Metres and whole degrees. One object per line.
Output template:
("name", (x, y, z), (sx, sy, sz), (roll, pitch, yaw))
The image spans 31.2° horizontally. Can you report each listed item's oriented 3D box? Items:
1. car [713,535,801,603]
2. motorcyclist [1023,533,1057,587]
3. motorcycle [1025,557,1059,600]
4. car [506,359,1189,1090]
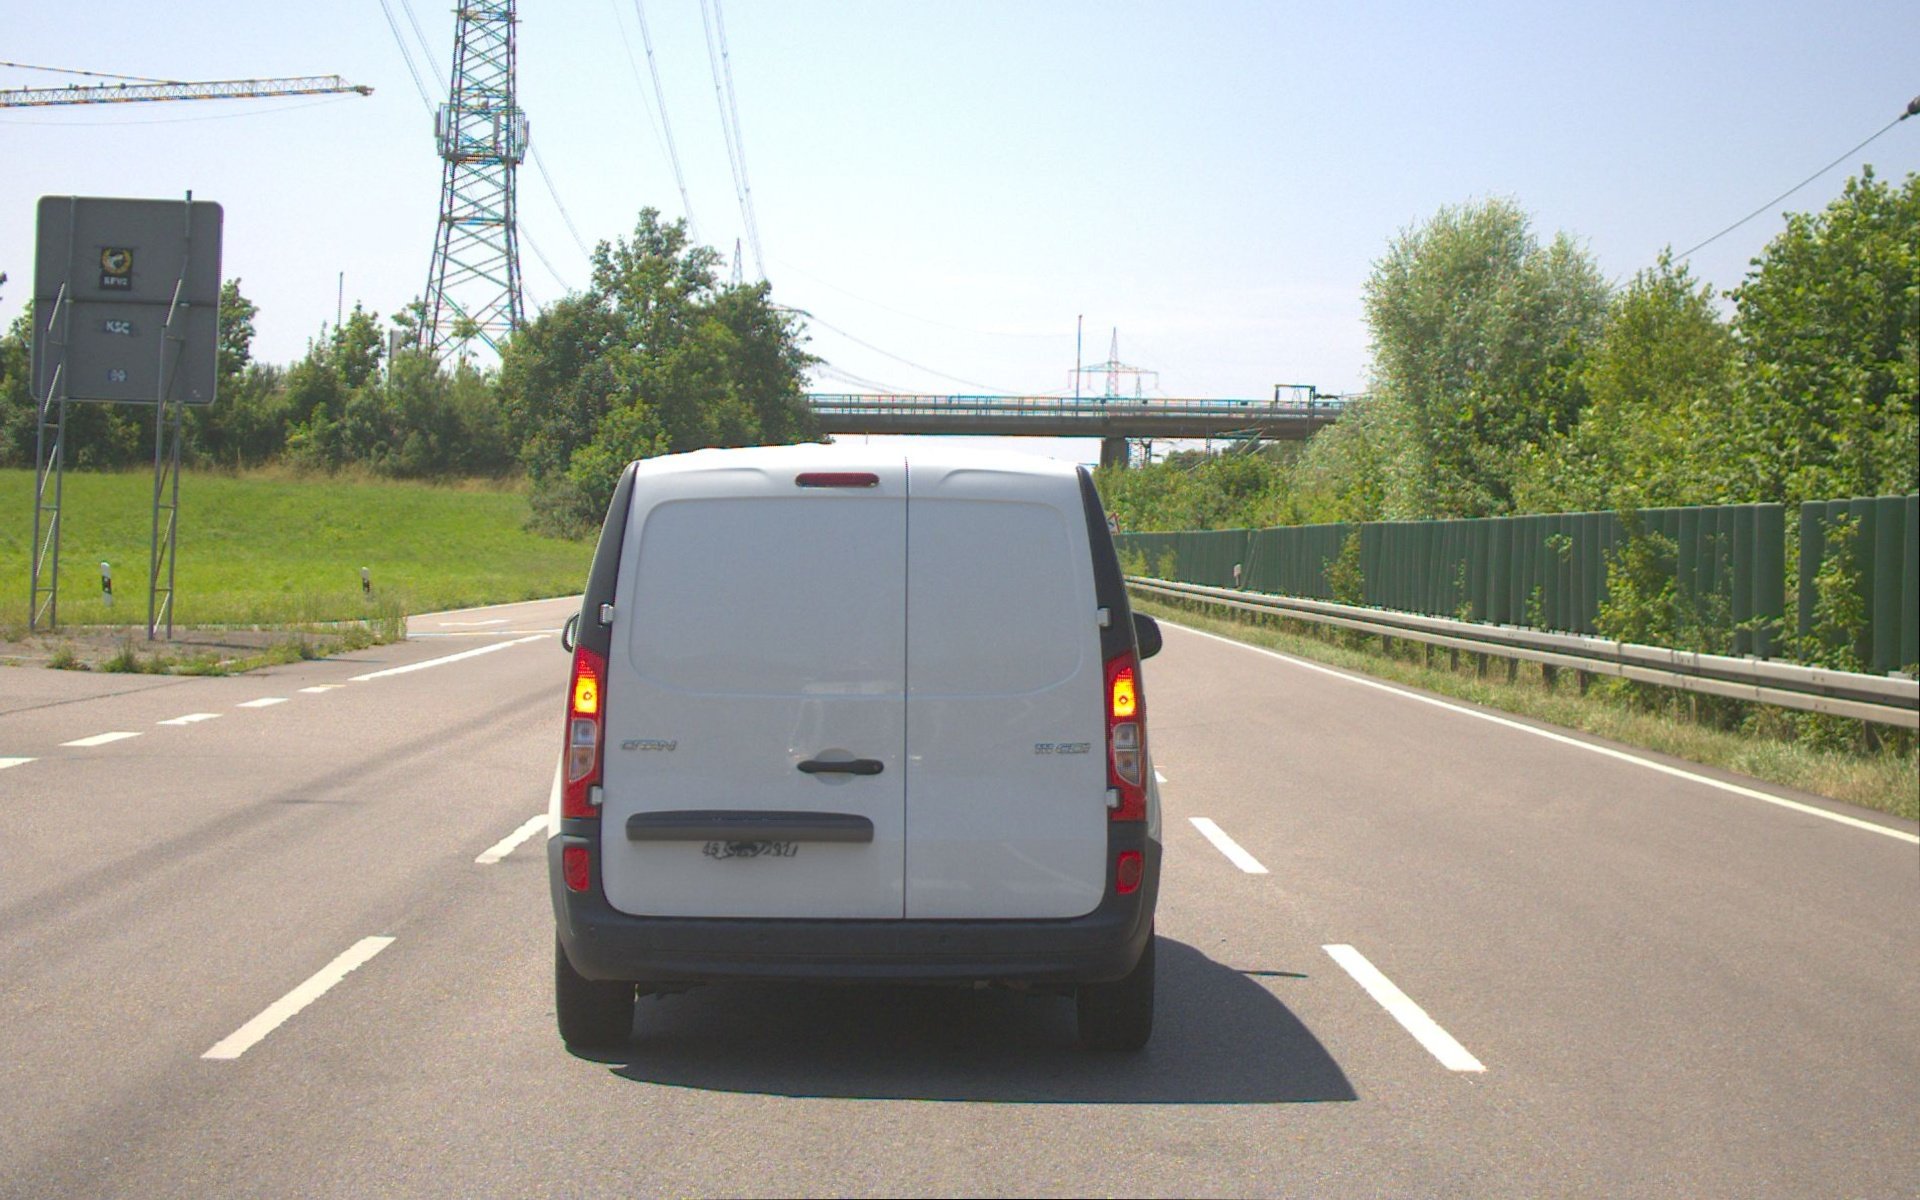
("car", (-4.582, -0.727, 78.168), (1.782, 1.459, 4.000), (1, 1, -1))
("motorcyclist", (2.215, -1.119, 95.535), (0.889, 1.471, 1.002), (1, 1, -1))
("motorcycle", (2.270, -0.608, 95.346), (0.790, 1.153, 1.901), (1, 1, -2))
("car", (-0.336, 0.304, 11.321), (1.827, 1.964, 4.000), (1, 1, -1))
